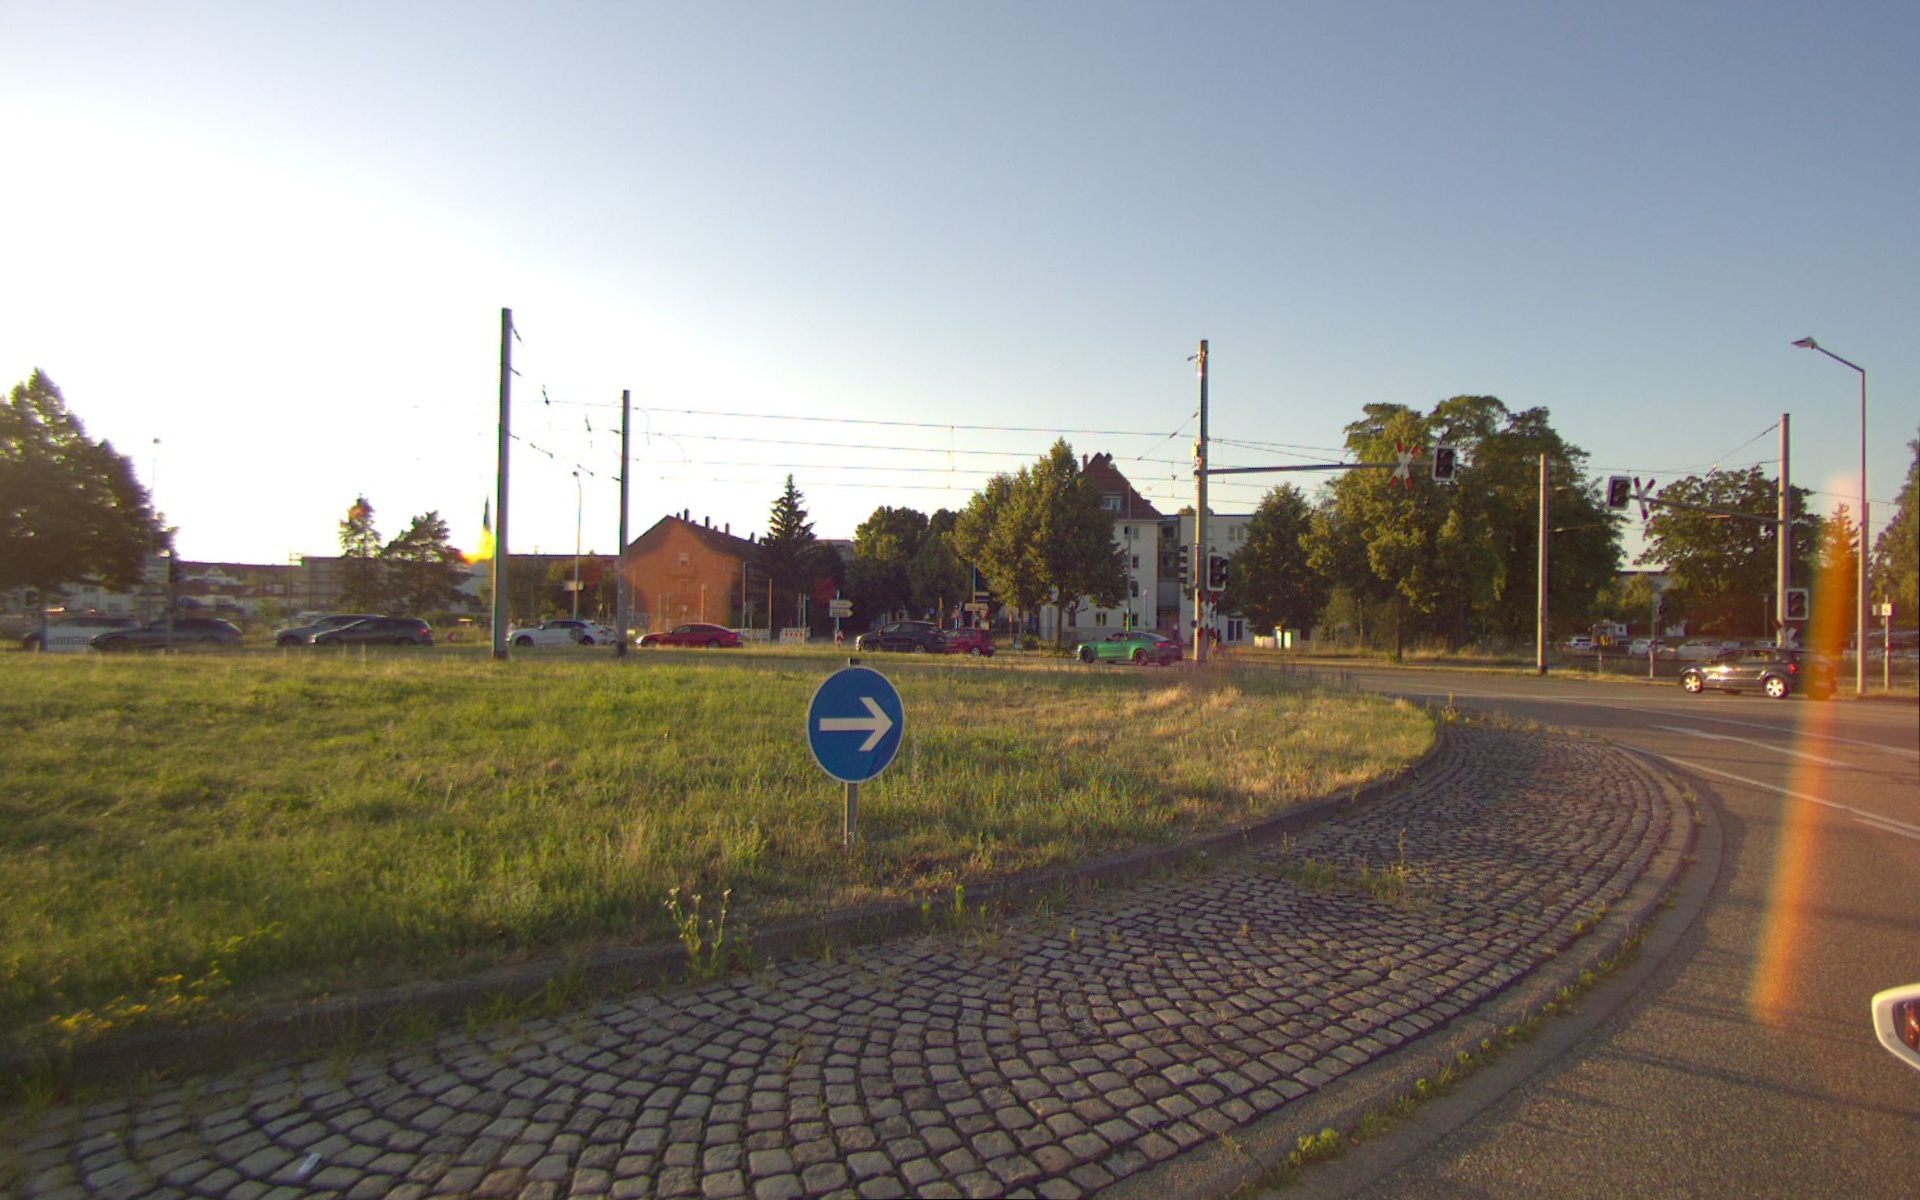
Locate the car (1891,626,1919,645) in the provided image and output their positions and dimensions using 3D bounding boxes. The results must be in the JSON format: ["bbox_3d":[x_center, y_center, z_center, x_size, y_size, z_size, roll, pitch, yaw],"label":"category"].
[{"bbox_3d":[107.411,4.012,112.613,3.919,2.040,2.001,1,-1,11],"label":"car"}]

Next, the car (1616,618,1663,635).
[{"bbox_3d":[86.210,3.366,127.452,4.505,2.040,2.001,1,-1,5],"label":"car"}]

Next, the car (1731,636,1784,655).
[{"bbox_3d":[77.308,4.405,97.426,3.938,1.684,1.894,0,-1,39],"label":"car"}]

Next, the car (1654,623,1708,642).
[{"bbox_3d":[80.188,3.631,111.752,4.507,2.040,2.000,1,-1,0],"label":"car"}]

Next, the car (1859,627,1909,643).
[{"bbox_3d":[107.990,4.111,117.464,3.919,1.840,2.001,1,-1,5],"label":"car"}]

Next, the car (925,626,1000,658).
[{"bbox_3d":[0.128,2.093,50.975,3.422,1.519,1.642,0,-1,22],"label":"car"}]

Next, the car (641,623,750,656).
[{"bbox_3d":[-11.948,1.792,45.580,4.409,1.410,1.895,1,-1,-1],"label":"car"}]

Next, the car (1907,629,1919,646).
[{"bbox_3d":[105.544,4.096,108.735,1.971,1.728,3.979,1,-1,-22],"label":"car"}]

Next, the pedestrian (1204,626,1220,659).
[{"bbox_3d":[14.912,2.524,59.465,0.614,1.918,0.662,2,0,-35],"label":"pedestrian"}]

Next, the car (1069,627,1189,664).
[{"bbox_3d":[6.978,1.850,41.785,4.670,1.389,1.988,0,-1,44],"label":"car"}]

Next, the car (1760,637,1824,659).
[{"bbox_3d":[66.332,3.777,80.180,1.960,1.625,4.002,1,-1,3],"label":"car"}]

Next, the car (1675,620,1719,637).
[{"bbox_3d":[93.161,3.572,127.045,4.033,2.040,2.001,1,-1,4],"label":"car"}]

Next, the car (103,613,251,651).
[{"bbox_3d":[-30.695,1.252,39.562,4.299,1.394,1.985,1,-1,-29],"label":"car"}]

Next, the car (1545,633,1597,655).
[{"bbox_3d":[49.378,3.533,81.236,1.960,1.625,4.002,1,-1,3],"label":"car"}]

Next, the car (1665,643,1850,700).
[{"bbox_3d":[22.666,1.987,28.745,1.665,1.372,3.991,0,-1,-12],"label":"car"}]

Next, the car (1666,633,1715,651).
[{"bbox_3d":[73.122,4.174,100.586,3.934,1.684,1.994,0,-1,35],"label":"car"}]

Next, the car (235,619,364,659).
[{"bbox_3d":[-30.072,1.779,45.898,4.563,1.759,1.885,1,-1,-23],"label":"car"}]

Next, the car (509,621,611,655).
[{"bbox_3d":[-20.705,1.962,52.146,4.635,1.728,1.995,1,-1,-13],"label":"car"}]

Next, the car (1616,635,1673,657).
[{"bbox_3d":[54.720,3.691,80.344,1.960,1.625,4.002,1,-1,3],"label":"car"}]

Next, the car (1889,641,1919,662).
[{"bbox_3d":[76.316,4.076,79.486,1.960,1.625,4.002,1,-1,3],"label":"car"}]

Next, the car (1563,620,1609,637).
[{"bbox_3d":[79.536,3.635,127.635,4.507,2.040,2.000,1,-1,0],"label":"car"}]

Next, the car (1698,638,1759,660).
[{"bbox_3d":[61.598,3.900,80.569,1.960,1.625,4.002,1,-1,3],"label":"car"}]

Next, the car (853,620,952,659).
[{"bbox_3d":[-2.525,1.728,44.234,3.925,1.605,1.894,0,-1,25],"label":"car"}]

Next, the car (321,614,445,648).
[{"bbox_3d":[-24.332,1.310,42.564,4.323,1.394,1.989,1,-1,-24],"label":"car"}]

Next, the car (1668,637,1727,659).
[{"bbox_3d":[59.479,3.838,81.046,1.960,1.625,4.002,1,-1,3],"label":"car"}]

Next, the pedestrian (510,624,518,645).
[{"bbox_3d":[-28.354,2.168,63.856,0.392,1.325,0.426,1,-1,-30],"label":"pedestrian"}]

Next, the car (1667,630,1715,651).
[{"bbox_3d":[75.641,4.211,103.989,3.934,2.040,1.994,0,-1,35],"label":"car"}]

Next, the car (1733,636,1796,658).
[{"bbox_3d":[63.979,3.705,79.940,1.960,1.625,4.002,1,-1,3],"label":"car"}]

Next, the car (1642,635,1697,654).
[{"bbox_3d":[69.171,4.316,97.941,3.919,1.684,1.904,1,-1,5],"label":"car"}]
